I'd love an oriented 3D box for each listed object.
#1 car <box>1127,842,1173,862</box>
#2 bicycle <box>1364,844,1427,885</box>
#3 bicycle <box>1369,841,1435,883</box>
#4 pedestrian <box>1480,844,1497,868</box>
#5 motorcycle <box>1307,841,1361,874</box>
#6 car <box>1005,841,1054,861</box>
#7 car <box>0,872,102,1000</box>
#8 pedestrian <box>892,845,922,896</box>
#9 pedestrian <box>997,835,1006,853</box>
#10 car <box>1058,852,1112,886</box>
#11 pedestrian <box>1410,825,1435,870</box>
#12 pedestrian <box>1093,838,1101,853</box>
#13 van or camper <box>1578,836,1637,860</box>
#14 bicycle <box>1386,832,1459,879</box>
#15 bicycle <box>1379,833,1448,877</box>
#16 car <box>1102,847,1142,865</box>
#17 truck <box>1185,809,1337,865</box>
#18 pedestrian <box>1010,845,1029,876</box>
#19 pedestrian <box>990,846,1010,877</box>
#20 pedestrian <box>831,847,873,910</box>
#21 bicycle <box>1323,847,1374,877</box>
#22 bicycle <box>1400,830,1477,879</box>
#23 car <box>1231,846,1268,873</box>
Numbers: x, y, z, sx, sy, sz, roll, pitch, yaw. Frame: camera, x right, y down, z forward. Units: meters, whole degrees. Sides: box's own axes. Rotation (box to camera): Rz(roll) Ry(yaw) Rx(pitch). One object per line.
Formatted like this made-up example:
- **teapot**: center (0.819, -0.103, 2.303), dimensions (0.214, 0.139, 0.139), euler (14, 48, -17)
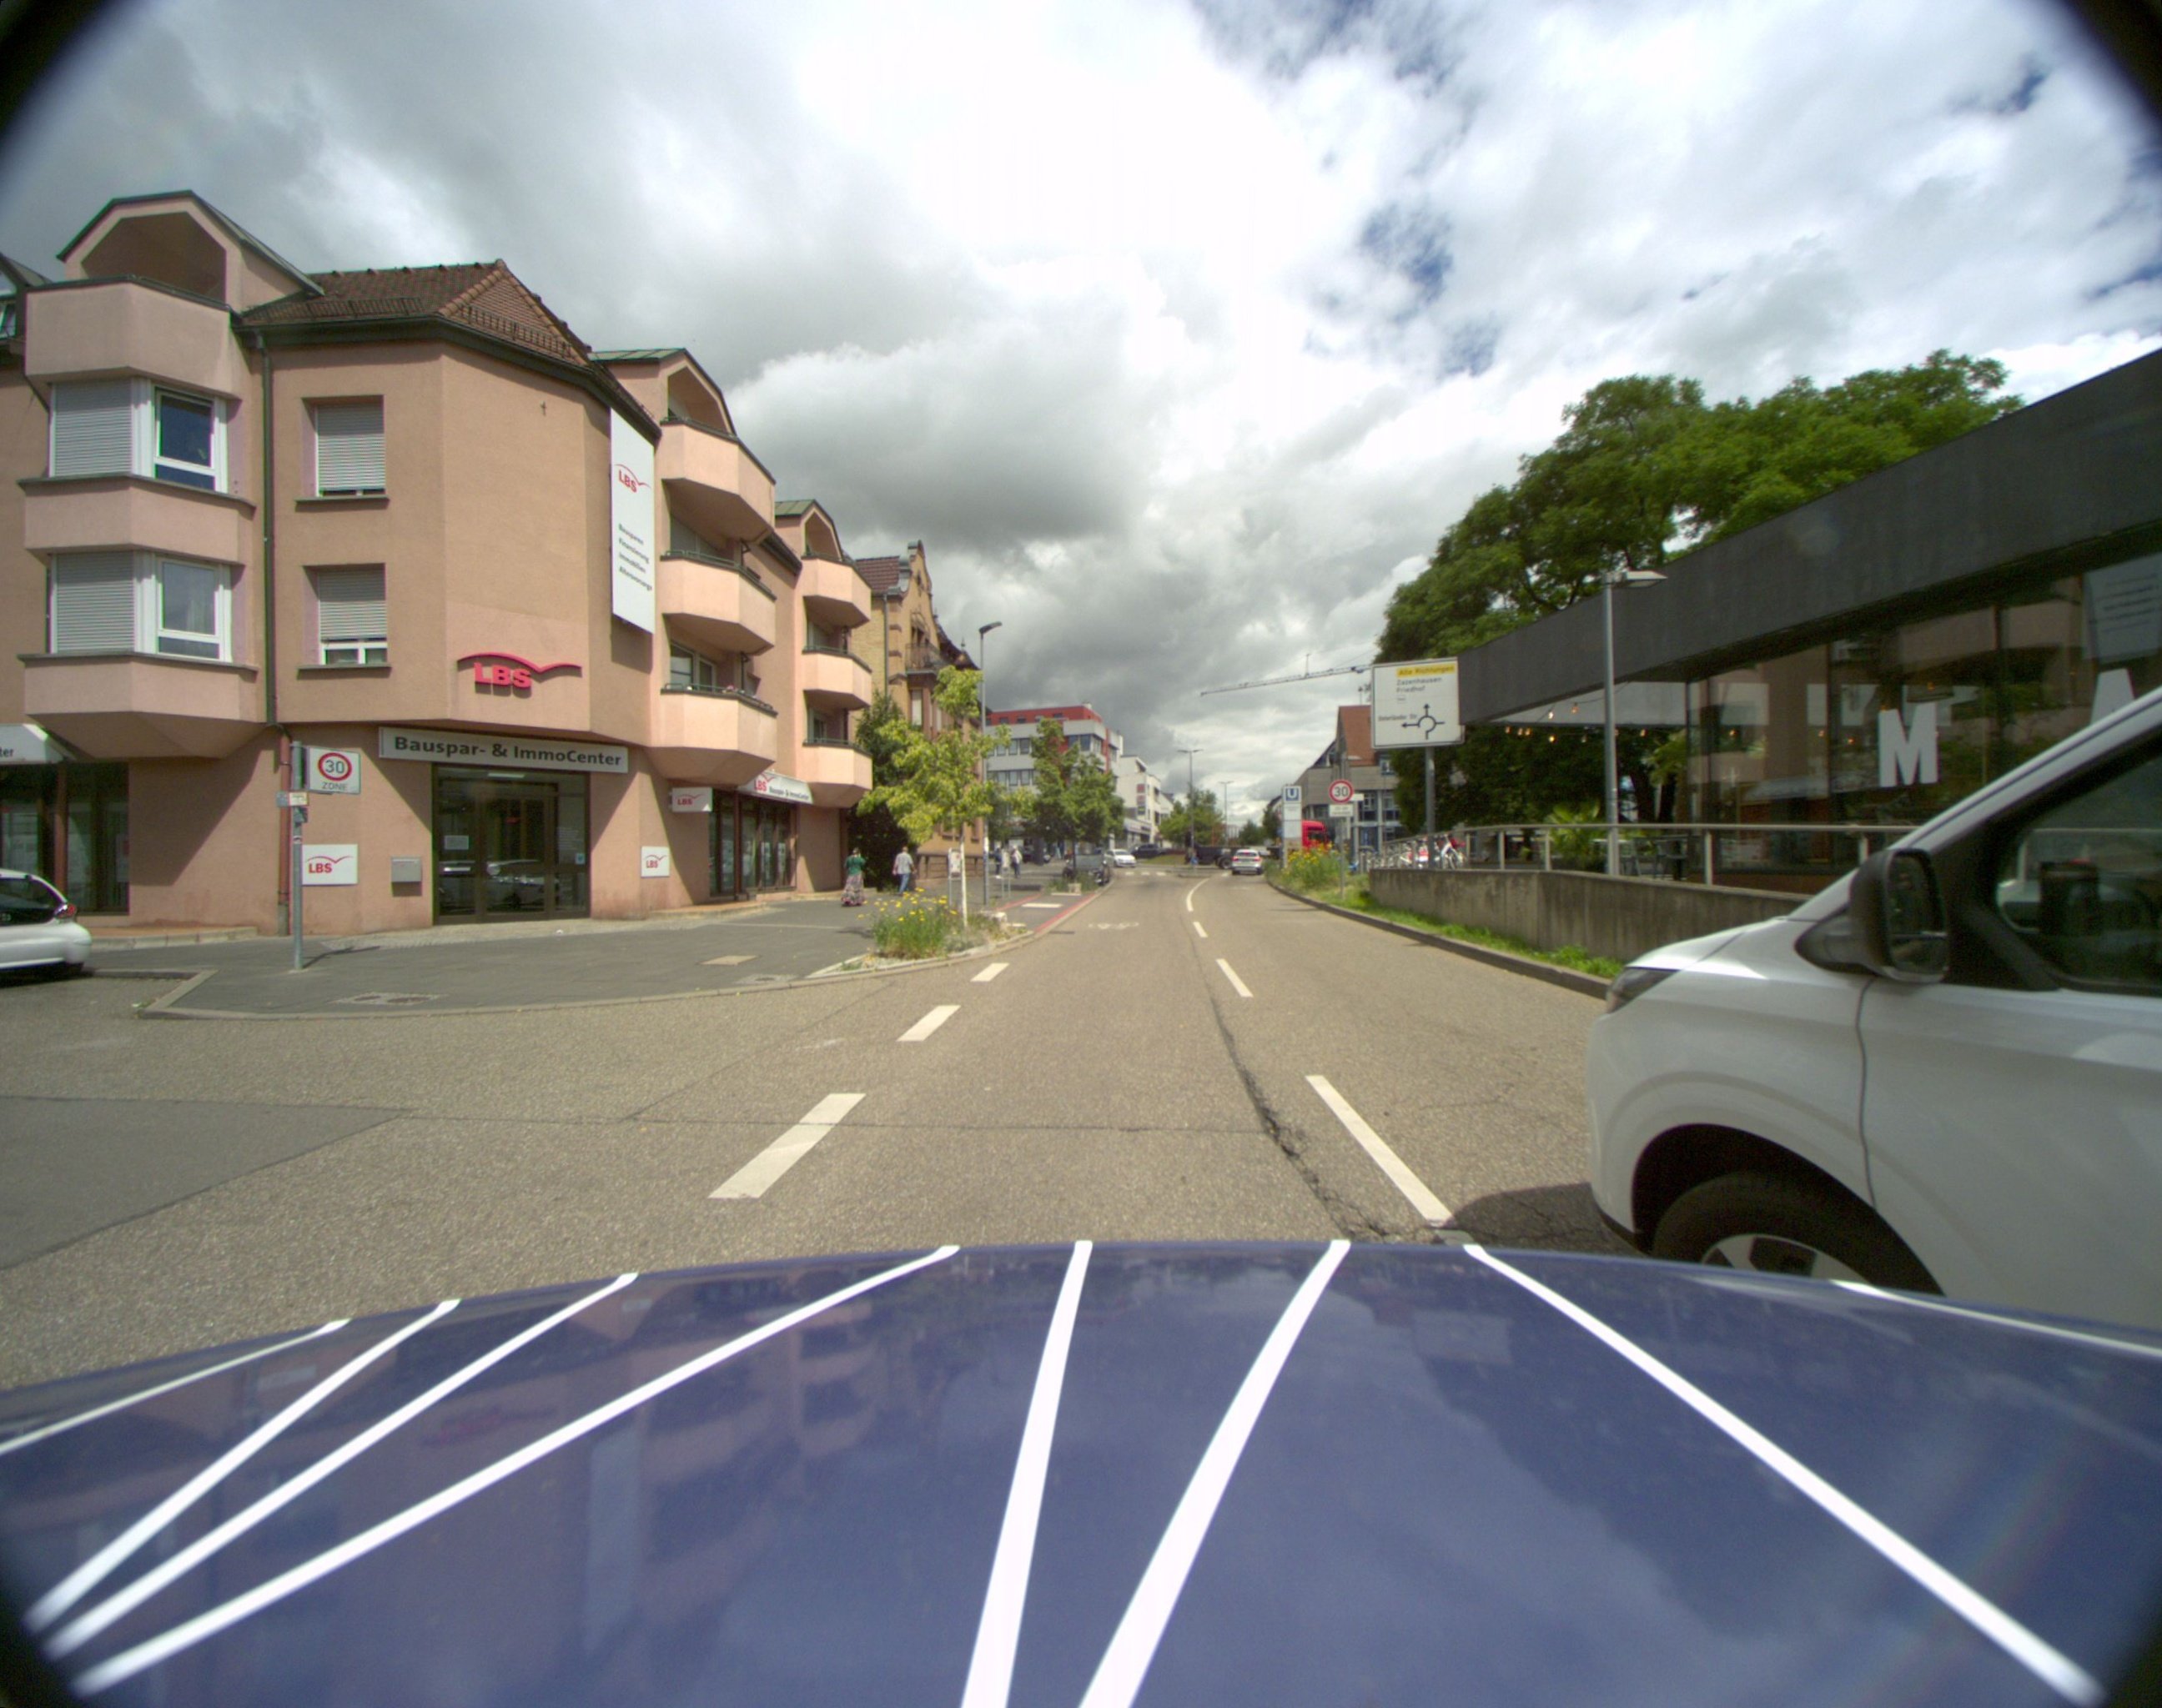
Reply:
- **car**: center (6.597, -0.203, 72.703), dimensions (4.001, 1.653, 1.841), euler (-2, 2, -14)
- **bicycle**: center (8.718, 0.286, 21.089), dimensions (1.549, 1.121, 0.534), euler (0, 1, 7)
- **bicycle**: center (8.587, 0.211, 20.345), dimensions (1.549, 1.121, 0.534), euler (0, 1, 7)
- **pedestrian**: center (28.451, 0.161, 53.068), dimensions (0.690, 1.665, 0.817), euler (-1, -1, 4)
- **motorcycle**: center (11.286, 0.142, 33.939), dimensions (2.193, 1.441, 0.648), euler (0, 2, 5)
- **car**: center (-4.636, -0.285, 69.090), dimensions (3.993, 1.641, 2.002), euler (-2, 1, 12)
- **car**: center (-14.375, 0.964, 9.065), dimensions (3.388, 1.468, 1.719), euler (1, 0, 5)
- **pedestrian**: center (-5.862, 0.554, 25.643), dimensions (0.718, 1.676, 0.944), euler (0, 2, 3)
- **pedestrian**: center (-8.722, -1.110, 83.828), dimensions (0.684, 1.903, 0.767), euler (-1, 2, 16)
- **car**: center (0.264, 0.664, 35.566), dimensions (1.997, 1.406, 4.738), euler (0, 1, 7)
- **pedestrian**: center (12.522, -0.222, 27.849), dimensions (0.661, 1.619, 0.800), euler (-1, -1, 14)
- **pedestrian**: center (1.751, -0.972, 82.167), dimensions (0.684, 1.585, 0.767), euler (-1, 2, 16)
- **van or camper**: center (53.023, -0.599, 76.645), dimensions (2.001, 2.368, 4.668), euler (-1, 1, -18)
- **bicycle**: center (8.362, 0.040, 18.642), dimensions (1.549, 1.121, 0.534), euler (0, 1, 7)
- **bicycle**: center (8.533, 0.022, 19.539), dimensions (1.549, 1.121, 0.534), euler (0, 1, 7)
- **car**: center (3.288, 0.141, 61.774), dimensions (1.818, 1.391, 4.046), euler (-3, 2, -18)
- **truck**: center (13.436, -1.256, 57.549), dimensions (10.834, 3.821, 2.683), euler (-2, 2, 7)
- **pedestrian**: center (-3.287, 0.333, 40.736), dimensions (0.696, 1.649, 0.741), euler (-1, 2, 18)
- **pedestrian**: center (-4.313, 0.390, 40.424), dimensions (0.738, 1.630, 0.677), euler (-1, 2, 32)
- **pedestrian**: center (-6.105, 0.630, 20.298), dimensions (0.745, 1.629, 0.928), euler (1, 0, 5)
- **bicycle**: center (9.846, 0.284, 27.961), dimensions (1.690, 1.075, 0.515), euler (-1, -1, 2)
- **bicycle**: center (8.311, 0.013, 17.697), dimensions (1.549, 1.121, 0.534), euler (0, 1, 7)
- **car**: center (10.762, 0.307, 48.244), dimensions (1.824, 1.575, 4.171), euler (1, 1, 19)
